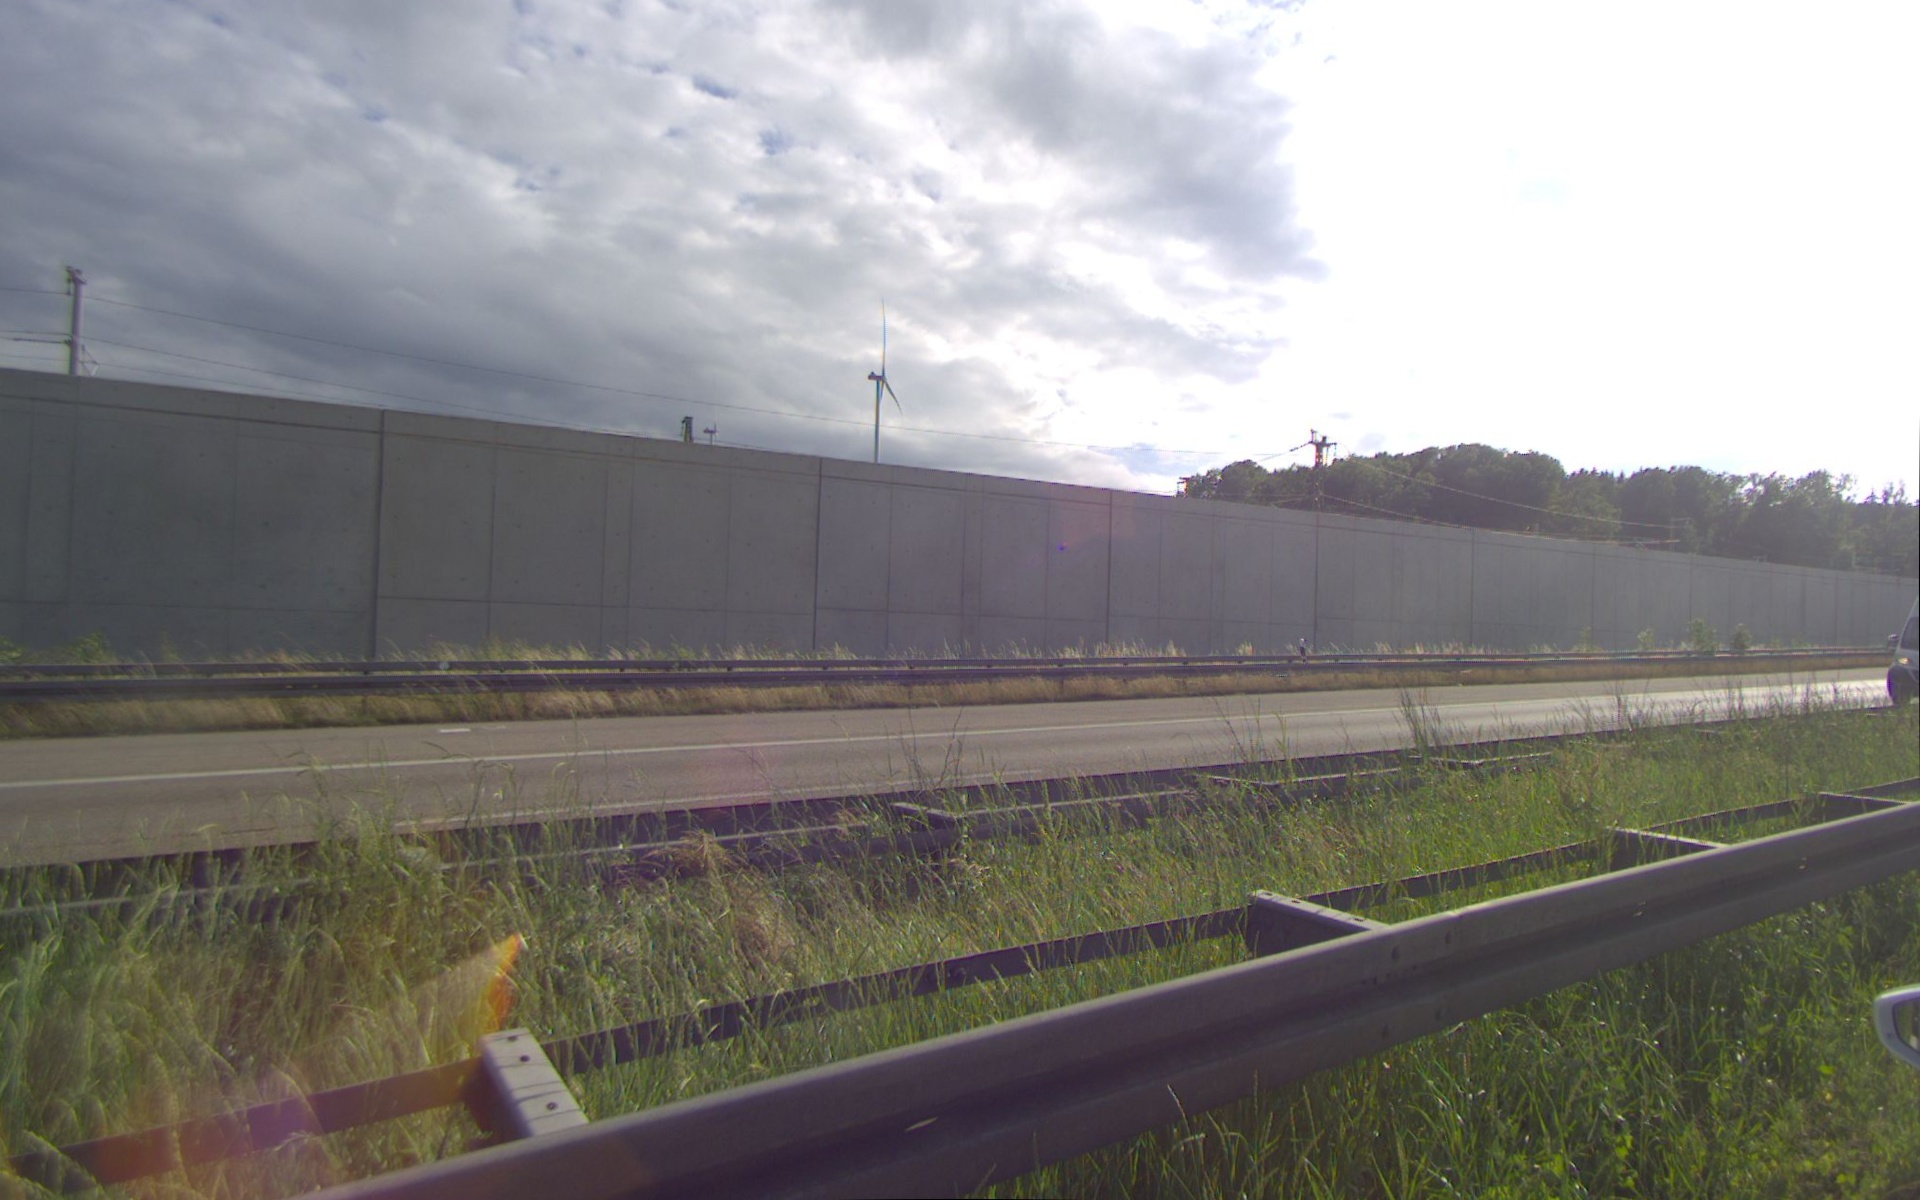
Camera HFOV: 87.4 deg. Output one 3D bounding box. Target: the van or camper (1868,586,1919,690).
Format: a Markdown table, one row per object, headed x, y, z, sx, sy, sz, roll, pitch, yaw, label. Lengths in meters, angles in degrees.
| x | y | z | sx | sy | sz | roll | pitch | yaw | label |
| --- | --- | --- | --- | --- | --- | --- | --- | --- | --- |
| 23.344 | 0.907 | 22.897 | 6.185 | 2.234 | 2.156 | 2 | 0 | -30 | van or camper |
